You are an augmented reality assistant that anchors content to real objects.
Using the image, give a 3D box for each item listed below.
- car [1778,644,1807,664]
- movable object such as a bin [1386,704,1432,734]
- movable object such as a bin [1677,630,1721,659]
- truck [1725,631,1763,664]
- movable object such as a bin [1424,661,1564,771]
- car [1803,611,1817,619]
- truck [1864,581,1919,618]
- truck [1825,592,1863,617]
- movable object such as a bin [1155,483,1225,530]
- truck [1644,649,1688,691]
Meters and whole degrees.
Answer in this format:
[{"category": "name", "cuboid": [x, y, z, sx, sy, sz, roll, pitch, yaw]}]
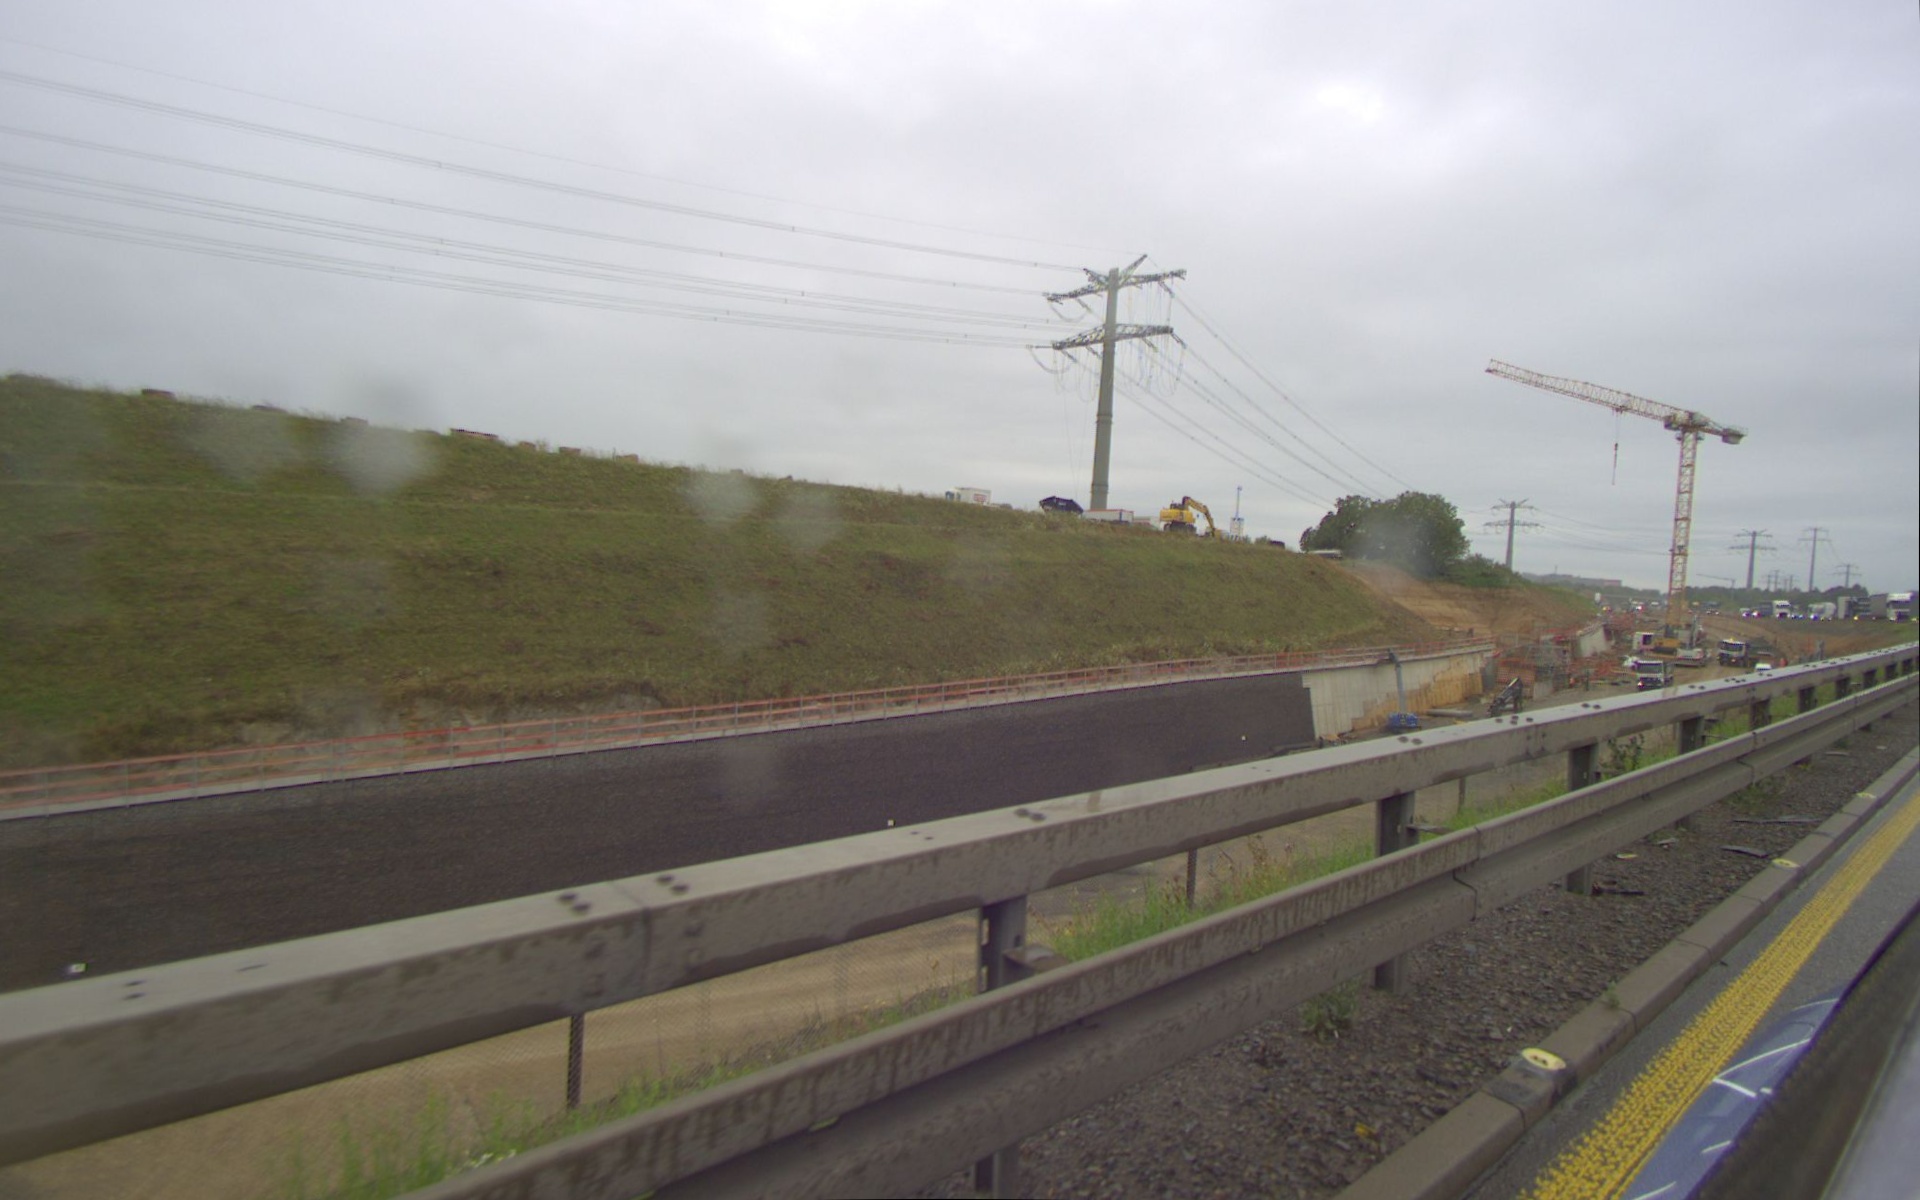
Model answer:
[{"category": "car", "cuboid": [106.625, 6.936, 129.592, 3.934, 2.041, 1.993, 1, -13, -44]}, {"category": "movable object such as a bin", "cuboid": [35.383, 9.328, 79.713, 2.512, 1.935, 3.210, -2, -1, 40]}, {"category": "movable object such as a bin", "cuboid": [97.854, 5.839, 134.018, 6.540, 3.467, 3.513, -1, 1, -42]}, {"category": "truck", "cuboid": [105.110, 6.267, 135.638, 3.350, 3.583, 8.776, 2, 3, 42]}, {"category": "movable object such as a bin", "cuboid": [36.451, 7.566, 68.794, 11.897, 5.740, 4.896, -3, 1, -44]}, {"category": "car", "cuboid": [152.591, 2.646, 181.699, 1.781, 1.445, 3.944, 0, 0, 38]}, {"category": "truck", "cuboid": [116.055, -0.046, 126.046, 4.298, 4.400, 13.222, 0, 0, 38]}, {"category": "truck", "cuboid": [142.488, 0.757, 163.220, 3.523, 3.943, 8.233, 0, 0, 34]}, {"category": "movable object such as a bin", "cuboid": [24.124, -9.713, 105.943, 8.041, 4.259, 3.102, 1, 1, -44]}, {"category": "truck", "cuboid": [75.958, 7.423, 108.773, 2.702, 3.655, 8.937, 3, 3, 42]}]
